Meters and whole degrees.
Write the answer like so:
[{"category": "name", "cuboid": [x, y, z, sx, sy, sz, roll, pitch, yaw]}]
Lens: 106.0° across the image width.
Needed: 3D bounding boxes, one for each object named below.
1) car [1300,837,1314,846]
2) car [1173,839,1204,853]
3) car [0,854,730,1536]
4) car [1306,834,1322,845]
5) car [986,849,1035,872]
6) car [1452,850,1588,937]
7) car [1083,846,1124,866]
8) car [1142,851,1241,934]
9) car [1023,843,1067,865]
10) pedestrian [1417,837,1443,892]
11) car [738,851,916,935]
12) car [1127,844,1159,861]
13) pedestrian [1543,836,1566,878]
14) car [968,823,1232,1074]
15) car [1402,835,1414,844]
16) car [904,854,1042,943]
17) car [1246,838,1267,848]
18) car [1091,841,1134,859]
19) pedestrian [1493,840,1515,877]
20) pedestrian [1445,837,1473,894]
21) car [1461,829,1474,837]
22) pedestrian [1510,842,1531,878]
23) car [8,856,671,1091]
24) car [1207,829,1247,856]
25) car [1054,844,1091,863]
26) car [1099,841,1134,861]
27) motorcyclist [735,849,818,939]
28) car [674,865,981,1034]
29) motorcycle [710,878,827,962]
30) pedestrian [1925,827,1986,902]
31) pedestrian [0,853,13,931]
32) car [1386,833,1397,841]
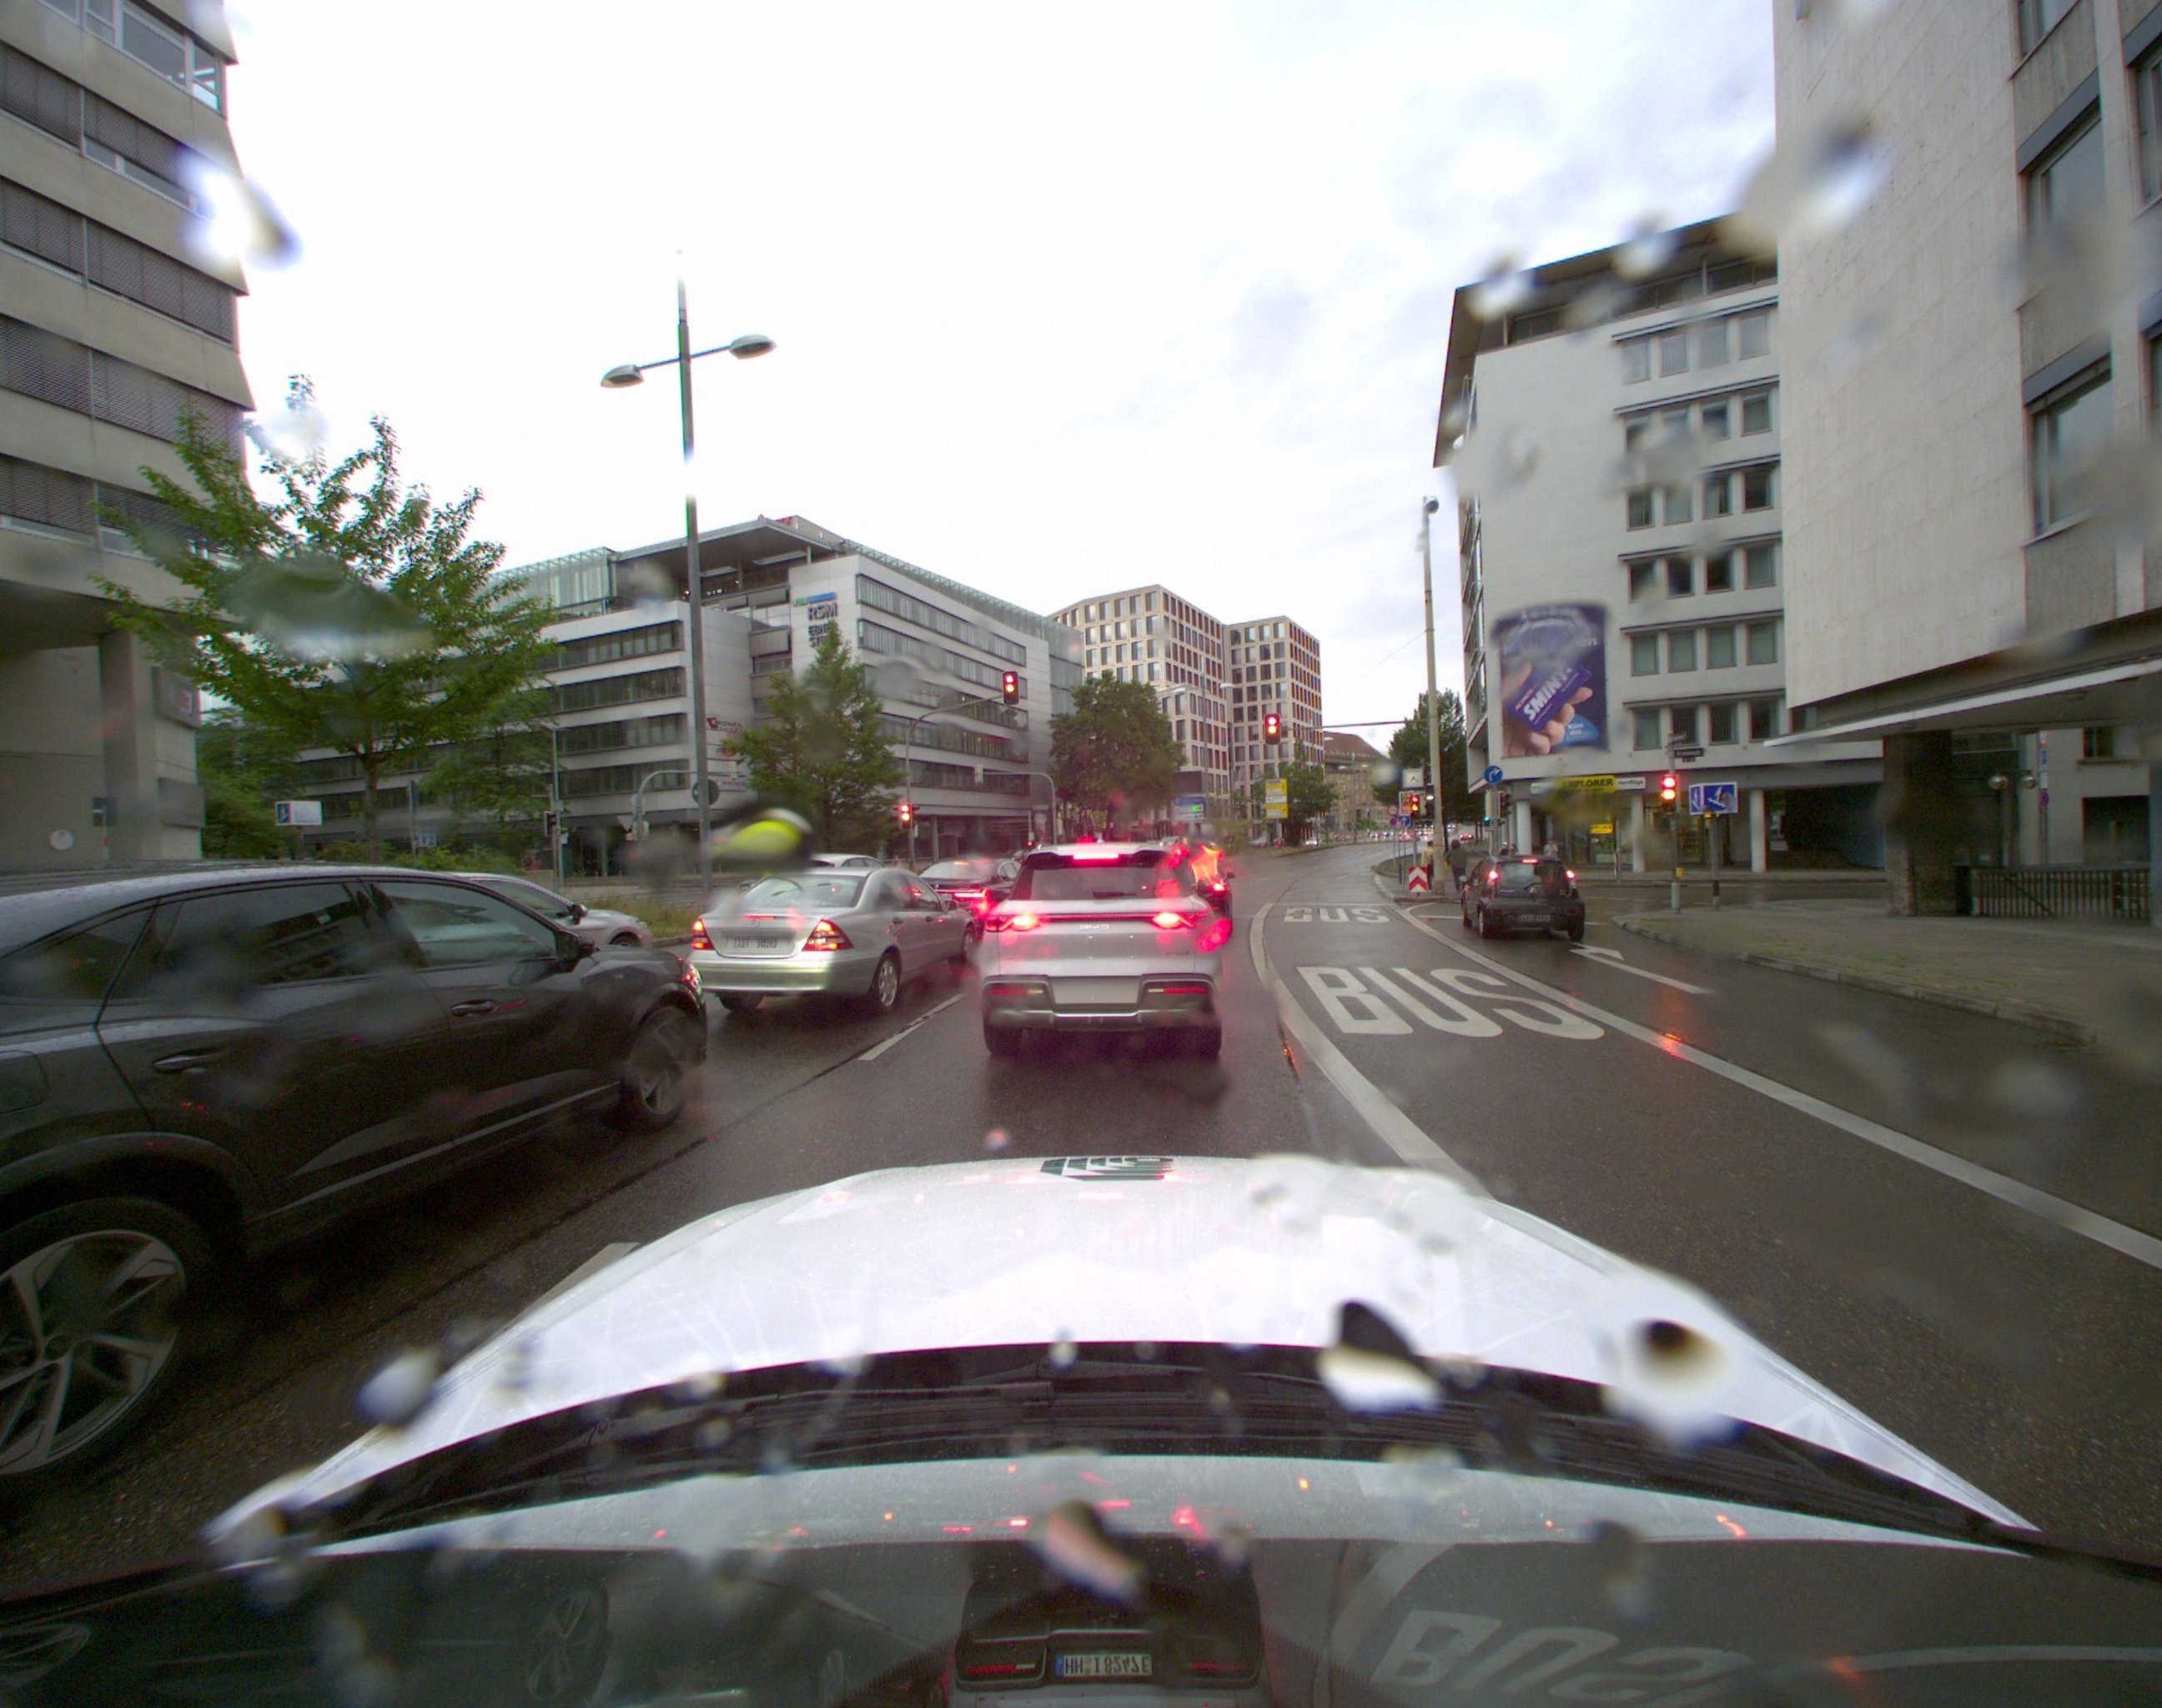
[{"category": "car", "cuboid": [45.216, -2.467, 162.763, 1.590, 1.741, 3.467, -1, -1, 34]}, {"category": "car", "cuboid": [12.170, -0.874, 91.962, 1.974, 1.488, 4.025, -1, 1, 29]}, {"category": "car", "cuboid": [-3.213, 0.779, 3.219, 1.642, 1.521, 4.274, -1, 0, 2]}, {"category": "car", "cuboid": [33.730, -2.131, 117.941, 1.616, 1.437, 3.931, -1, 1, 25]}, {"category": "car", "cuboid": [-5.125, 0.427, 59.972, 1.976, 1.610, 4.022, 1, 1, 22]}, {"category": "car", "cuboid": [8.163, 0.670, 15.471, 1.558, 1.429, 4.018, -1, -1, 18]}, {"category": "car", "cuboid": [1.661, 0.129, 58.878, 1.675, 1.385, 3.888, -1, -1, 21]}, {"category": "car", "cuboid": [2.373, 0.712, 16.700, 1.682, 1.486, 4.013, -1, -1, 12]}, {"category": "car", "cuboid": [-2.488, -0.017, 57.611, 1.630, 1.536, 4.172, -1, 0, 19]}, {"category": "pedestrian", "cuboid": [11.571, 0.347, 26.990, 0.742, 1.798, 0.821, -1, 1, 22]}, {"category": "car", "cuboid": [-4.964, 0.707, 16.517, 1.696, 1.486, 4.013, -1, -1, 11]}, {"category": "car", "cuboid": [6.246, -0.169, 81.431, 1.616, 1.559, 4.620, -1, 1, 25]}, {"category": "pedestrian", "cuboid": [20.375, 0.120, 35.022, 0.778, 1.794, 0.662, -1, 0, -45]}, {"category": "car", "cuboid": [0.261, 0.655, 7.498, 1.768, 1.679, 4.004, -1, -1, 4]}, {"category": "car", "cuboid": [60.701, -2.721, 150.984, 1.871, 1.643, 4.023, -1, 0, 24]}, {"category": "car", "cuboid": [-1.923, 0.771, 15.707, 1.561, 1.486, 4.010, -1, -1, 9]}, {"category": "car", "cuboid": [26.325, -1.664, 122.206, 1.974, 1.488, 4.025, -1, 1, 29]}, {"category": "car", "cuboid": [2.963, -0.356, 75.380, 1.796, 1.510, 5.228, -1, 1, 28]}, {"category": "pedestrian", "cuboid": [18.994, 0.197, 36.569, 0.657, 1.655, 0.662, -1, 0, -45]}, {"category": "pedestrian", "cuboid": [12.220, 0.363, 26.356, 0.742, 1.798, 0.821, -1, 1, 22]}, {"category": "car", "cuboid": [70.625, -3.829, 148.966, 1.677, 1.486, 4.025, -1, -1, 32]}, {"category": "pedestrian", "cuboid": [19.458, 0.259, 36.067, 0.657, 1.543, 0.618, -1, 0, -45]}, {"category": "car", "cuboid": [-6.191, 0.809, 7.856, 1.857, 1.533, 4.780, -1, 0, 3]}, {"category": "car", "cuboid": [11.681, -0.876, 64.996, 1.975, 2.014, 4.876, -1, -1, 25]}, {"category": "car", "cuboid": [-0.673, -0.047, 68.581, 1.623, 1.571, 3.740, -1, -1, 26]}, {"category": "car", "cuboid": [3.038, -0.277, 68.781, 1.629, 1.581, 4.109, -1, 0, 24]}, {"category": "motorcyclist", "cuboid": [-4.893, 0.619, 13.143, 0.765, 1.380, 1.122, -1, -1, 11]}, {"category": "car", "cuboid": [-2.459, 0.842, 9.051, 1.561, 1.407, 4.120, -1, -1, 9]}, {"category": "motorcycle", "cuboid": [-4.942, 1.003, 13.054, 0.795, 1.185, 2.034, -1, -1, 11]}, {"category": "pedestrian", "cuboid": [20.706, 0.247, 19.300, 0.764, 1.731, 0.599, -1, 0, 16]}, {"category": "pedestrian", "cuboid": [-23.842, 0.832, 17.568, 0.672, 1.683, 0.766, -1, 0, 15]}, {"category": "car", "cuboid": [77.312, -4.219, 202.768, 1.975, 2.013, 4.025, -1, 0, 29]}]
